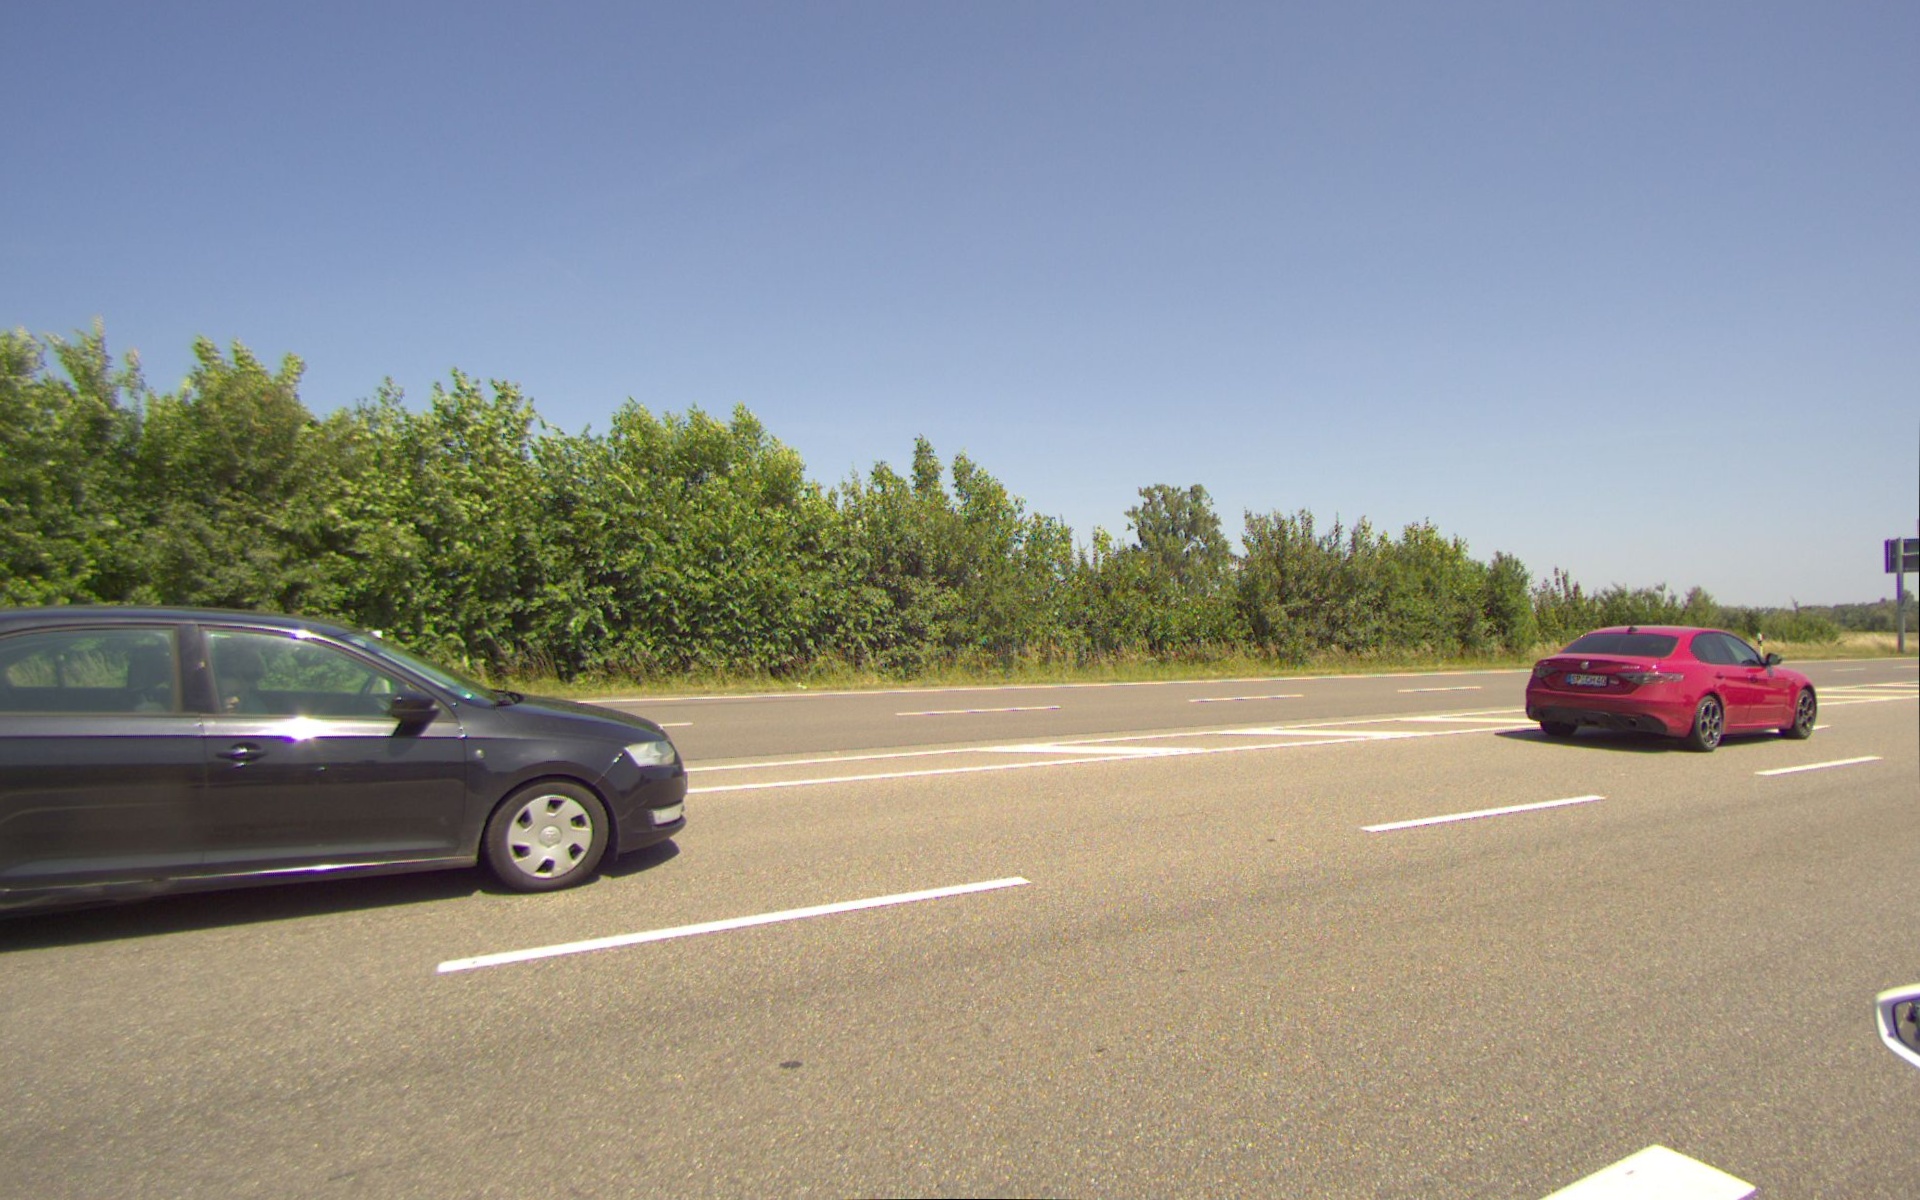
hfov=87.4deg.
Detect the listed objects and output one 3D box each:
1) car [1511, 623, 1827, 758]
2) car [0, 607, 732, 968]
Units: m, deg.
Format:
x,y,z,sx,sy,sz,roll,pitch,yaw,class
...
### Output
x,y,z,sx,sy,sz,roll,pitch,yaw,class
9.305,1.052,13.075,4.515,1.440,1.740,1,0,-32,car
-3.583,0.772,5.152,4.416,1.430,1.666,1,0,-31,car
